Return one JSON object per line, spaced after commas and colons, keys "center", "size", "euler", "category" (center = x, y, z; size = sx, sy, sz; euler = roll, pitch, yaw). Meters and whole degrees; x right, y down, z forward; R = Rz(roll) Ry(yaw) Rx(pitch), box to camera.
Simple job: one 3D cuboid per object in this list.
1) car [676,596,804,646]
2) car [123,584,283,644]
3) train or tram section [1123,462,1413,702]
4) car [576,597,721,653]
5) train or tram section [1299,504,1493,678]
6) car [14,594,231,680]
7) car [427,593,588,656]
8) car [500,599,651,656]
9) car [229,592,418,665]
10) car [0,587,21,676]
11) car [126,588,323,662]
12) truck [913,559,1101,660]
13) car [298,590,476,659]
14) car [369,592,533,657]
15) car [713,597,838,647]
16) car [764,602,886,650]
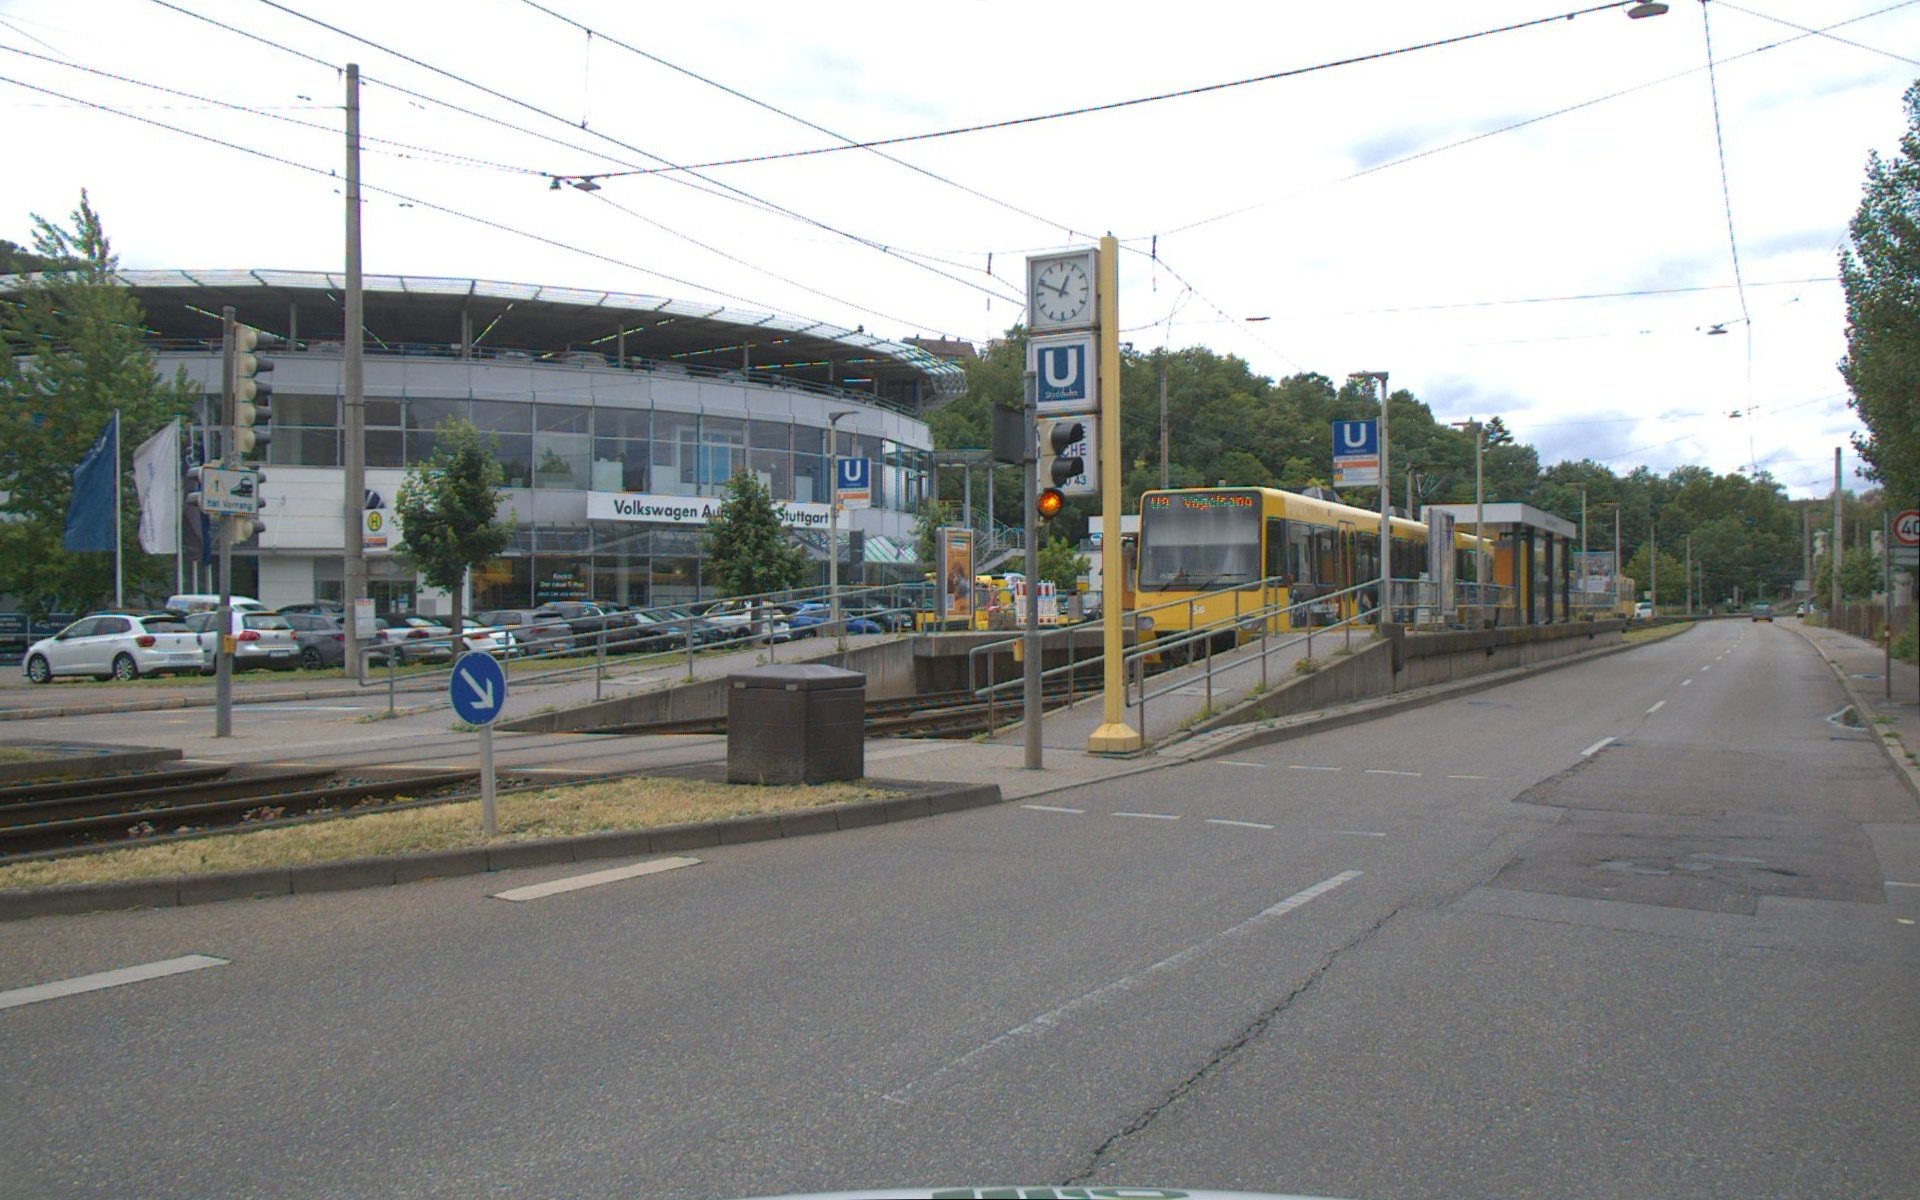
{"center": [-7.314, 0.674, 54.878], "size": [3.914, 1.581, 1.923], "euler": [0, 0, 31], "category": "car"}
{"center": [-22.516, 0.419, 49.241], "size": [3.902, 1.582, 1.928], "euler": [1, -4, 14], "category": "car"}
{"center": [6.707, -0.330, 33.775], "size": [2.687, 4.036, 11.899], "euler": [0, 0, 26], "category": "train or tram section"}
{"center": [-9.417, 0.727, 50.057], "size": [3.906, 1.581, 1.927], "euler": [0, 1, 23], "category": "car"}
{"center": [11.999, -0.234, 44.472], "size": [2.687, 4.036, 11.899], "euler": [0, 0, 26], "category": "train or tram section"}
{"center": [-17.829, 0.789, 35.250], "size": [3.906, 1.669, 1.999], "euler": [0, -4, 23], "category": "car"}
{"center": [-12.587, 0.690, 46.032], "size": [3.906, 1.582, 1.926], "euler": [0, -4, 23], "category": "car"}
{"center": [-11.197, 0.776, 48.242], "size": [3.906, 1.581, 1.927], "euler": [0, 0, 23], "category": "car"}
{"center": [-15.155, 0.687, 39.401], "size": [3.906, 1.582, 1.926], "euler": [0, -4, 23], "category": "car"}
{"center": [-19.989, 0.560, 31.150], "size": [3.906, 1.669, 1.999], "euler": [0, -1, 23], "category": "car"}
{"center": [-16.560, 0.567, 37.257], "size": [3.906, 1.503, 1.813], "euler": [0, -4, 23], "category": "car"}
{"center": [1.780, 0.357, 56.286], "size": [2.643, 3.132, 8.993], "euler": [0, -1, 28], "category": "truck"}
{"center": [-14.460, 0.627, 41.764], "size": [3.906, 1.582, 1.926], "euler": [0, -4, 23], "category": "car"}
{"center": [-13.532, 0.652, 43.988], "size": [3.906, 1.582, 1.728], "euler": [0, -4, 23], "category": "car"}
{"center": [-6.406, 0.760, 57.362], "size": [3.914, 1.582, 1.922], "euler": [0, -4, 31], "category": "car"}
{"center": [-4.822, 0.920, 58.973], "size": [3.914, 1.582, 1.922], "euler": [0, -4, 31], "category": "car"}
